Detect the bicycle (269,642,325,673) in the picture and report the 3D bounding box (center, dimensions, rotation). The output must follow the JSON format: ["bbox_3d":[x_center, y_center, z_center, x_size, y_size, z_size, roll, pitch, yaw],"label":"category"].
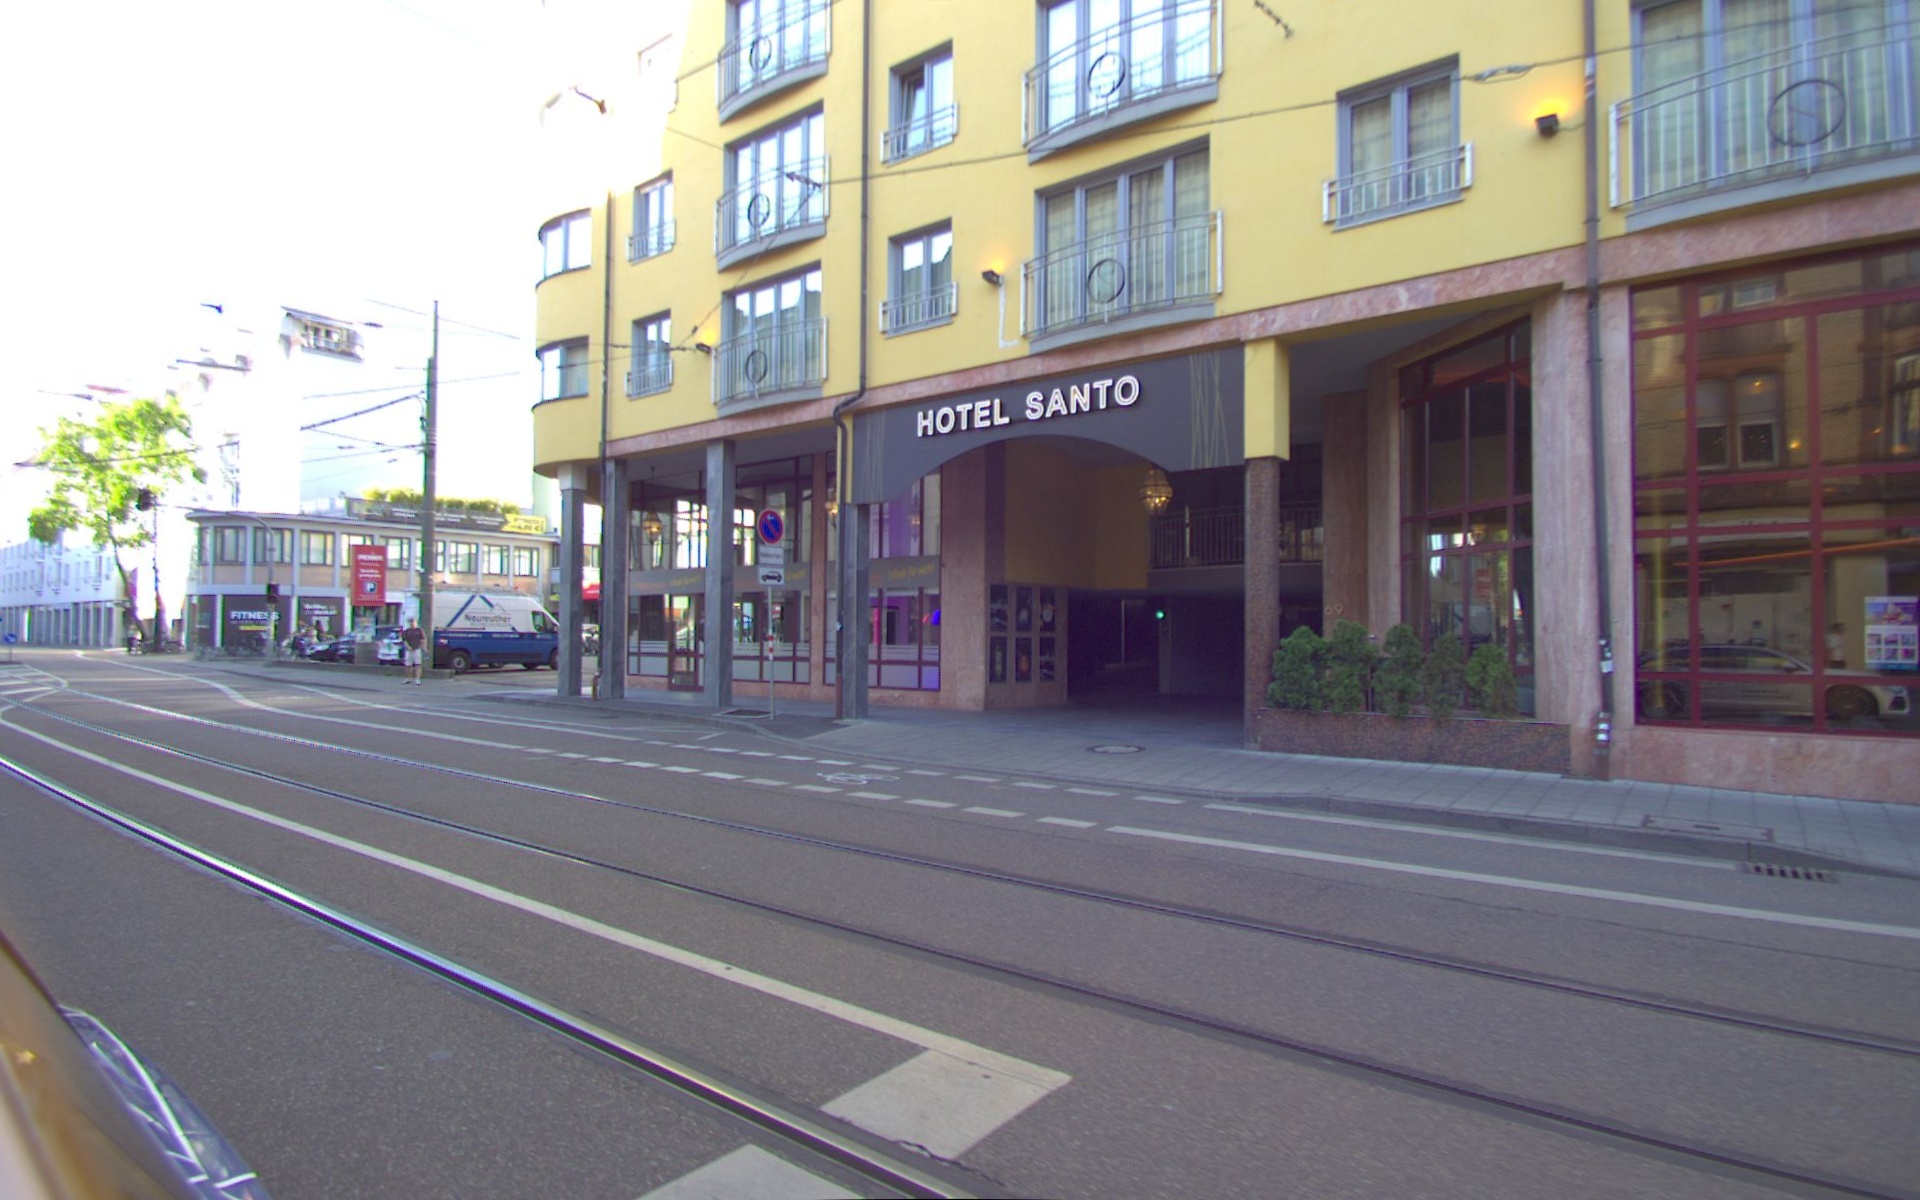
[{"bbox_3d":[-26.994,2.330,41.235,0.678,1.180,1.819,1,-2,20],"label":"bicycle"}]

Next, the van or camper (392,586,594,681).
[{"bbox_3d":[-15.241,1.148,33.341,2.312,2.849,5.551,-2,-4,39],"label":"van or camper"}]

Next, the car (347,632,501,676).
[{"bbox_3d":[-19.289,1.933,36.610,1.877,1.487,4.543,-2,-4,38],"label":"car"}]

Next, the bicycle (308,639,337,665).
[{"bbox_3d":[-29.485,2.407,46.784,1.827,1.196,0.444,-2,-4,36],"label":"bicycle"}]

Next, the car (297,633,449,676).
[{"bbox_3d":[-23.072,2.127,39.951,1.877,1.595,4.846,-2,-4,38],"label":"car"}]

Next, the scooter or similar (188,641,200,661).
[{"bbox_3d":[-43.447,2.889,57.416,0.330,1.120,1.183,1,-2,-28],"label":"scooter or similar"}]

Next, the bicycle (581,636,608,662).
[{"bbox_3d":[-16.942,2.278,46.928,0.426,1.196,1.832,3,-4,-44],"label":"bicycle"}]

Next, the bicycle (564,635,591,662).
[{"bbox_3d":[-17.655,2.235,46.693,0.426,1.196,1.832,3,-4,-44],"label":"bicycle"}]

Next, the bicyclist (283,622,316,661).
[{"bbox_3d":[-26.961,1.692,41.304,0.686,1.561,0.832,1,-2,20],"label":"bicyclist"}]

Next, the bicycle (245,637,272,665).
[{"bbox_3d":[-31.149,2.267,44.907,1.829,1.196,0.436,-2,-4,38],"label":"bicycle"}]

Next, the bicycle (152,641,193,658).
[{"bbox_3d":[-44.947,2.829,57.773,0.389,0.919,1.825,-6,-5,43],"label":"bicycle"}]

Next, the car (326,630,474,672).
[{"bbox_3d":[-21.129,1.927,38.364,1.877,1.487,4.543,-2,-4,38],"label":"car"}]

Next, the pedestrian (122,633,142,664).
[{"bbox_3d":[-47.184,2.774,57.684,0.621,1.729,0.828,1,-3,-24],"label":"pedestrian"}]

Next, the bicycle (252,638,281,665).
[{"bbox_3d":[-31.111,2.304,45.372,1.827,1.196,0.444,-2,-4,36],"label":"bicycle"}]

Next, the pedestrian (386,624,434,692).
[{"bbox_3d":[-15.226,1.601,28.027,0.908,1.846,0.825,-2,-4,38],"label":"pedestrian"}]

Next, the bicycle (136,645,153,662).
[{"bbox_3d":[-46.103,3.035,57.215,1.849,0.919,0.384,-1,-1,40],"label":"bicycle"}]

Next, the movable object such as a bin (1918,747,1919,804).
[{"bbox_3d":[7.313,1.442,7.080,0.840,0.721,0.379,-2,1,40],"label":"movable object such as a bin"}]

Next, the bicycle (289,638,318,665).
[{"bbox_3d":[-30.055,2.346,46.313,1.827,1.196,0.444,-2,-4,36],"label":"bicycle"}]

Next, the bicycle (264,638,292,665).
[{"bbox_3d":[-30.720,2.296,45.579,1.827,1.196,0.439,-2,-4,36],"label":"bicycle"}]

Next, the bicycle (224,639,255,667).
[{"bbox_3d":[-32.042,2.357,44.976,1.826,1.196,0.442,-2,-3,33],"label":"bicycle"}]

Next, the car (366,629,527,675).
[{"bbox_3d":[-17.508,1.780,34.705,1.877,1.487,4.543,-2,-4,38],"label":"car"}]

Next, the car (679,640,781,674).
[{"bbox_3d":[-9.905,2.420,43.806,1.996,1.364,3.951,-1,-3,36],"label":"car"}]
